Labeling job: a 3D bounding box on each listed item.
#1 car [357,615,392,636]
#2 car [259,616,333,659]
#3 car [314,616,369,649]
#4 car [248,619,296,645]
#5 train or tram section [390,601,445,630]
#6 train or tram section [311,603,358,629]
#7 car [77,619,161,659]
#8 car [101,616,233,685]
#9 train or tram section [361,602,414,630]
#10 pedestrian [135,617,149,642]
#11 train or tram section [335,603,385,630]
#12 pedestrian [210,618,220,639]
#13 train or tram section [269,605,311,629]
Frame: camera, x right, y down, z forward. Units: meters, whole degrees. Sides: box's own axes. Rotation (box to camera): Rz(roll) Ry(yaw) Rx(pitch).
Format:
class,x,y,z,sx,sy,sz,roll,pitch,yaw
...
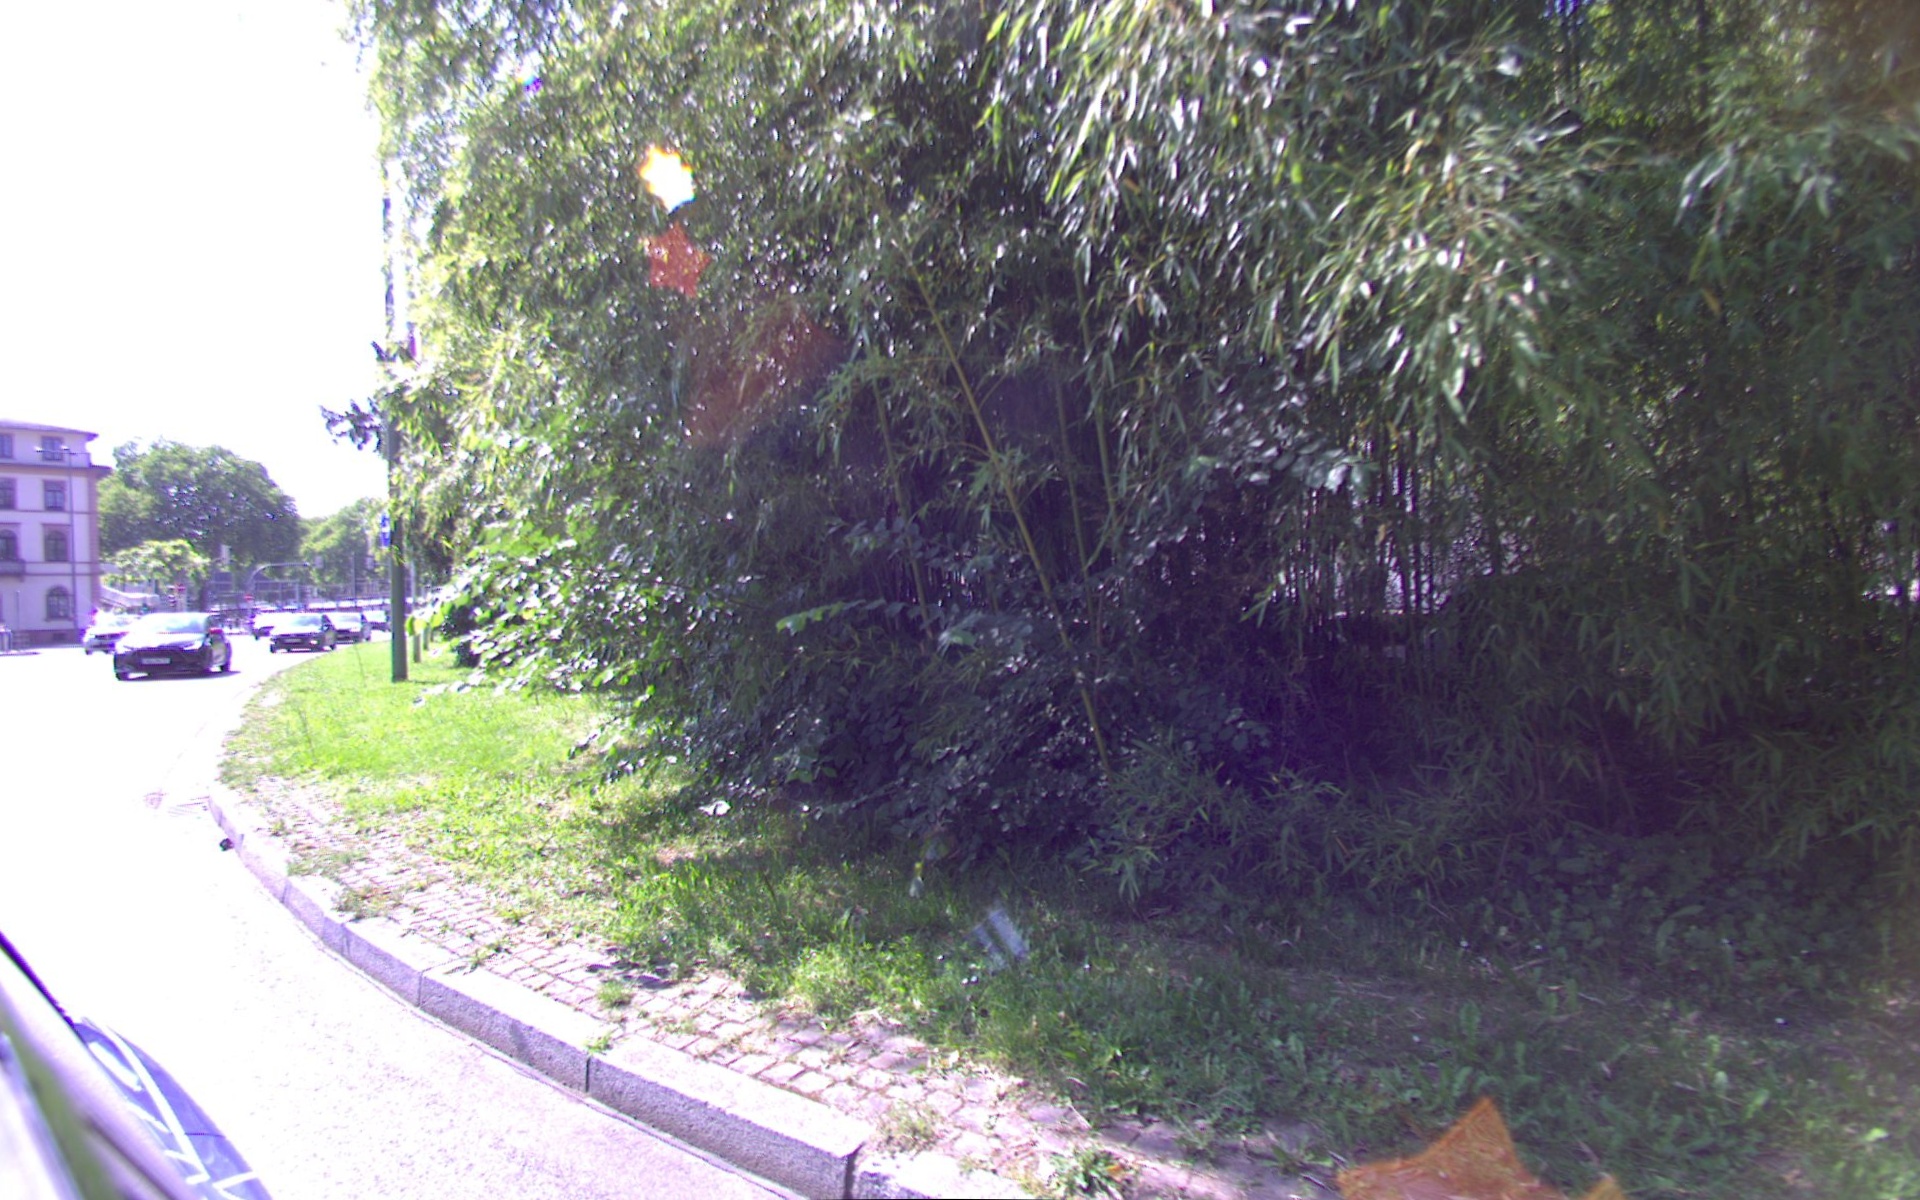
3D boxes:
class,x,y,z,sx,sy,sz,roll,pitch,yaw
car,-42.016,1.833,72.664,1.761,1.471,4.102,0,-1,-25
car,-25.281,1.390,38.660,1.761,1.504,4.102,0,-1,-25
car,-29.260,1.519,48.001,1.761,1.481,4.102,0,-1,-25
car,-41.309,1.914,60.832,1.761,1.471,4.102,0,-1,-25
train or tram section,-65.397,1.885,121.875,8.728,3.292,2.699,-2,0,39
train or tram section,-85.620,2.250,138.492,8.728,3.292,2.699,-2,0,39
car,-33.850,1.531,40.850,1.761,1.524,4.294,0,-1,-28
car,-18.681,1.120,24.036,1.761,1.462,4.294,0,-1,-28
train or tram section,-72.128,2.006,127.385,8.728,3.292,2.699,-2,0,39
pedestrian,-60.577,2.161,74.955,0.715,1.819,0.653,-2,0,-44
train or tram section,-78.883,2.128,132.928,8.728,3.292,2.699,-2,0,39
pedestrian,-61.626,2.359,83.670,0.674,1.661,0.528,-2,0,43
train or tram section,-99.114,2.493,149.670,8.728,3.292,2.699,-2,0,39
